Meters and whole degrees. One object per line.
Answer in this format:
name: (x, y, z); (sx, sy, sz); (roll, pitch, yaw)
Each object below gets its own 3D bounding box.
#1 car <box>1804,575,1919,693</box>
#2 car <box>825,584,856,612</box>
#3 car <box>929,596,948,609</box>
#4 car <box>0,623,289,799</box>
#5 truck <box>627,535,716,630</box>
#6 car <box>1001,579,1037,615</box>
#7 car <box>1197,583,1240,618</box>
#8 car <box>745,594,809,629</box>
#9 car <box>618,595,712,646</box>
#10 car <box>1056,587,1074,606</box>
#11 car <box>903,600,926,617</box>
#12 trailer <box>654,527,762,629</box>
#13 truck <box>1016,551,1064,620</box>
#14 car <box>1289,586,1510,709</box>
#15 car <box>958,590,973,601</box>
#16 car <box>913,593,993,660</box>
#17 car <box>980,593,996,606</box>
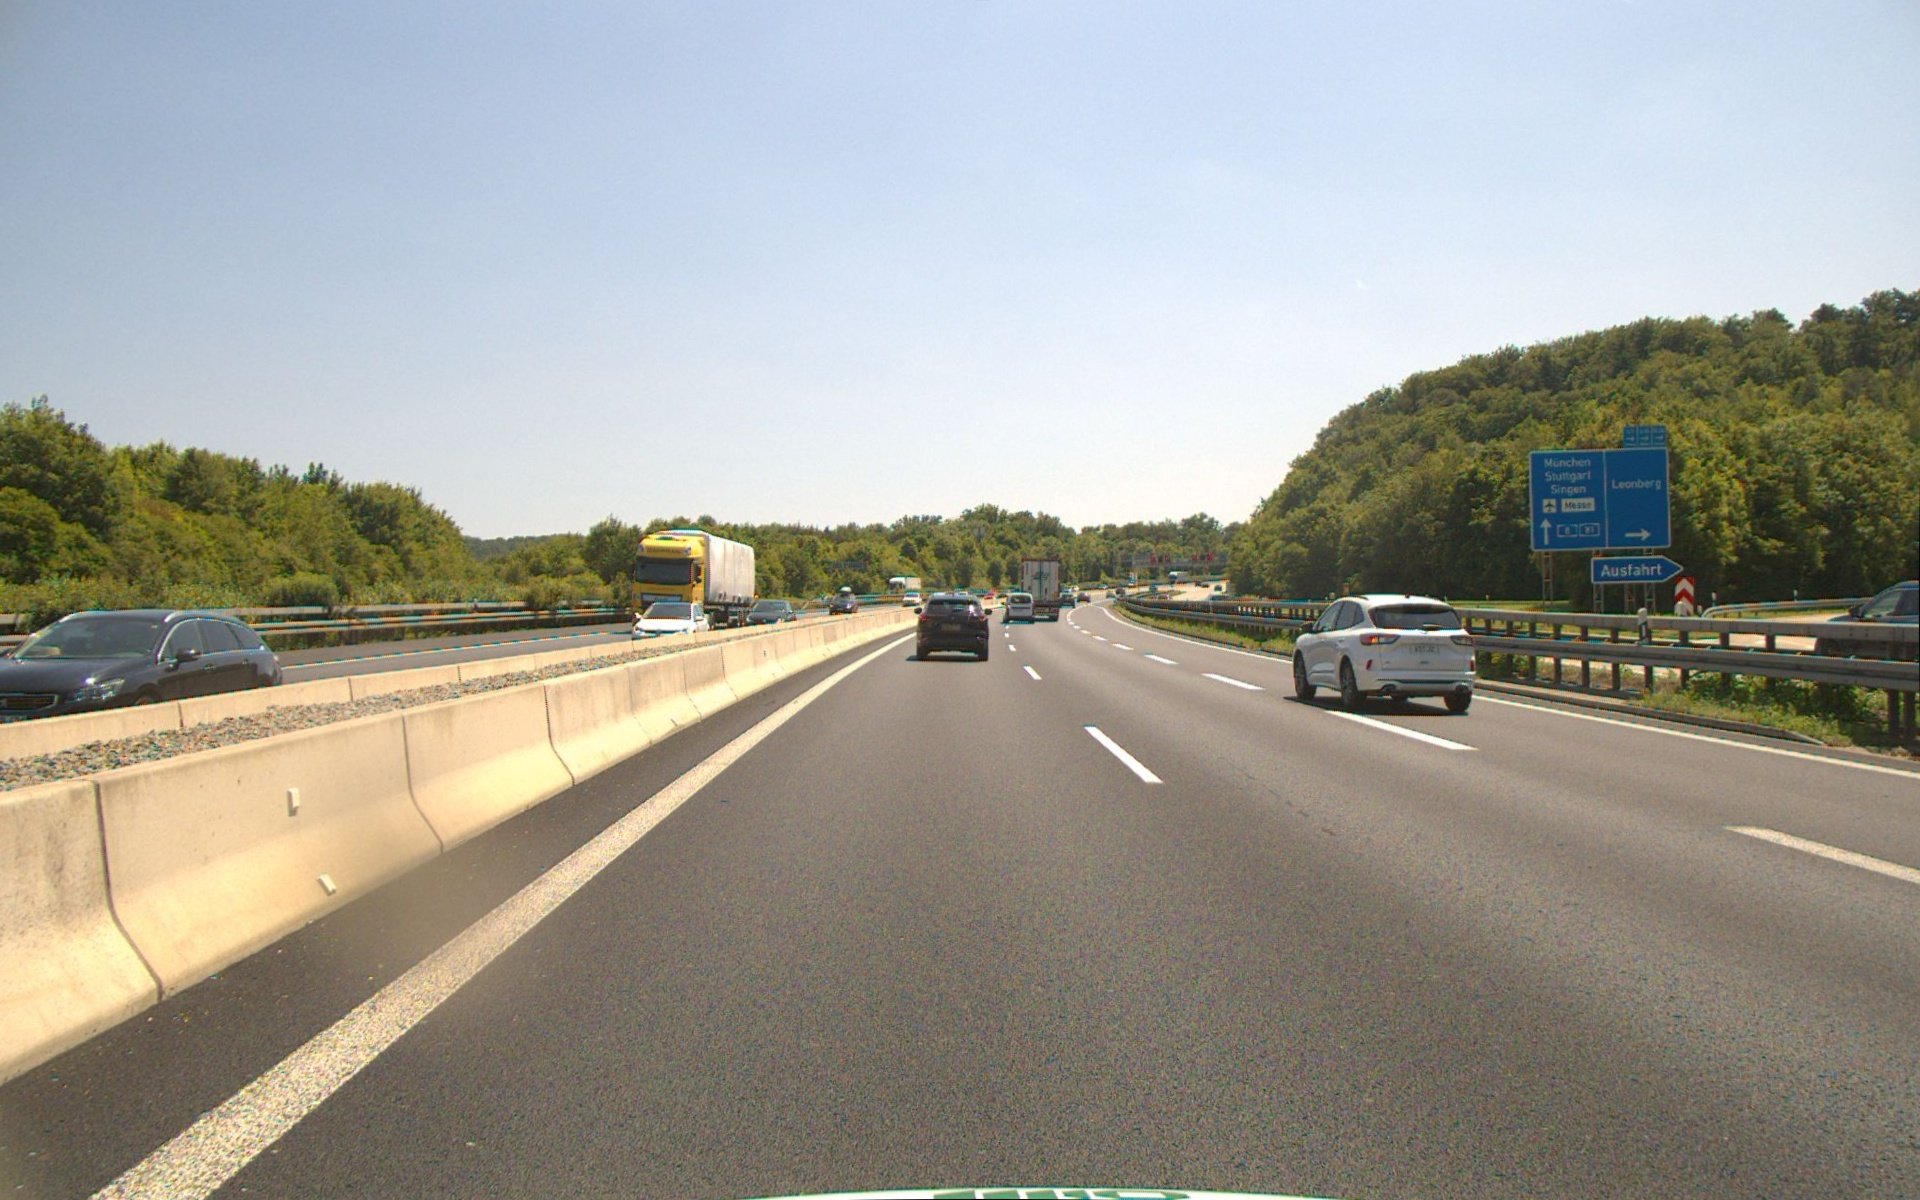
car: (14.763, 0.496, 23.947); (1.954, 1.691, 5.622); (0, 0, -3)
car: (-9.175, -0.166, 127.058); (1.952, 2.117, 4.704); (0, 0, 1)
car: (-2.616, 0.283, 204.201); (1.952, 1.570, 5.043); (0, 0, 3)
car: (-8.820, 1.048, 17.477); (1.694, 1.563, 4.611); (0, 0, -2)
truck: (-11.919, -0.692, 68.696); (2.692, 3.820, 4.867); (0, 0, 2)
car: (3.589, -0.178, 99.814); (1.952, 2.048, 4.002); (-3, 0, 3)
car: (15.849, 0.022, 101.658); (1.953, 2.049, 4.000); (-2, 0, 0)
car: (-7.529, 0.463, 68.373); (1.952, 1.373, 4.260); (0, 0, 3)
car: (-8.514, 0.564, 48.098); (1.953, 1.398, 4.661); (-1, 0, -1)
car: (11.978, -0.385, 188.326); (1.952, 2.049, 4.001); (0, 0, 3)
car: (-4.776, 0.873, 174.342); (1.829, 1.695, 4.667); (0, 0, 6)
trailer: (-11.598, -0.929, 77.539); (2.661, 4.387, 12.827); (0, 0, 2)
truck: (5.539, -0.933, 113.068); (2.968, 4.496, 12.024); (0, 0, 4)
car: (6.520, 0.664, 25.085); (1.954, 1.691, 4.464); (0, 0, -3)
car: (0.760, -0.652, 230.465); (1.811, 1.419, 4.002); (2, 0, 4)
car: (-0.219, 0.652, 41.761); (1.744, 1.605, 3.996); (0, 0, -4)
car: (3.888, -0.060, 231.012); (1.952, 1.688, 4.636); (0, 0, 4)
